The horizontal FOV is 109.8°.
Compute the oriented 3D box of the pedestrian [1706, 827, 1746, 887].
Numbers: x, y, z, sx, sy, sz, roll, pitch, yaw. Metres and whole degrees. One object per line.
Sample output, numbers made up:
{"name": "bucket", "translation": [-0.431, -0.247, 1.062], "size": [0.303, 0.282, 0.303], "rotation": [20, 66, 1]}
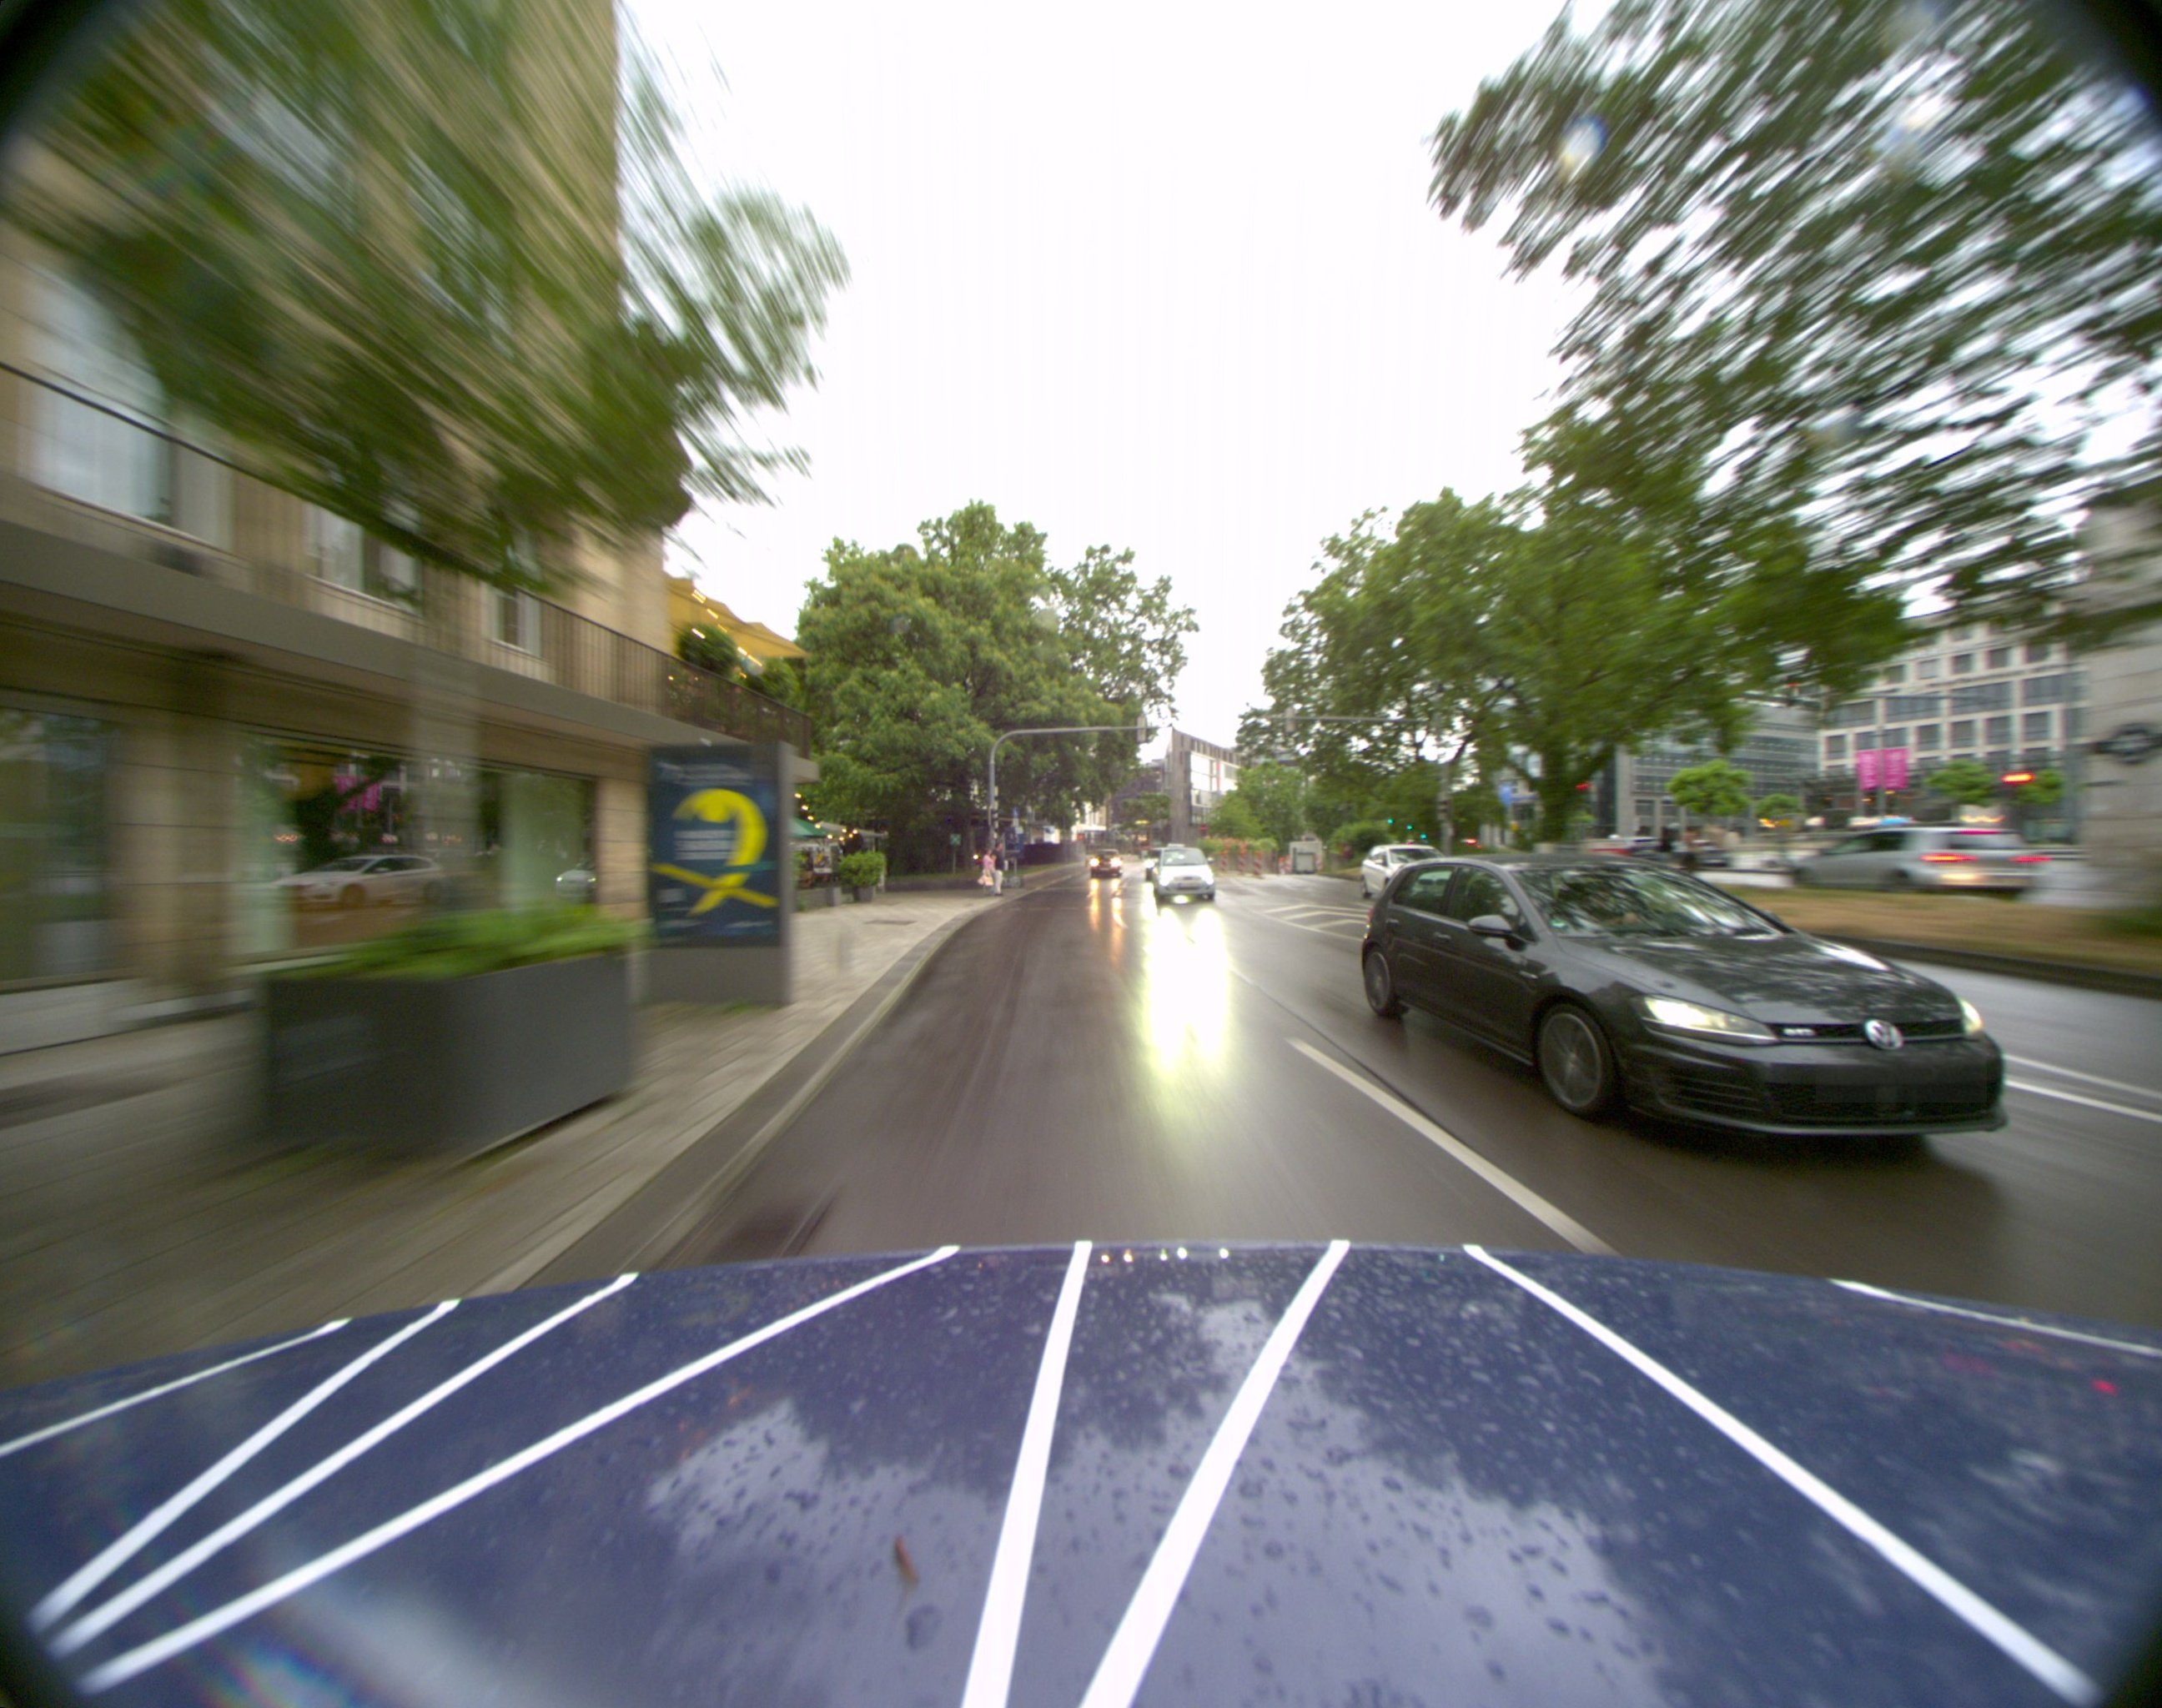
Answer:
{"name": "pedestrian", "translation": [17.921, 0.079, 21.119], "size": [0.611, 1.604, 0.640], "rotation": [-2, 1, -26]}

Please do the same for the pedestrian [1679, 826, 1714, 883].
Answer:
{"name": "pedestrian", "translation": [17.585, 0.008, 21.715], "size": [0.448, 1.604, 0.640], "rotation": [-2, 1, -26]}

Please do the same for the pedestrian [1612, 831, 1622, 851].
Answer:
{"name": "pedestrian", "translation": [45.577, -1.105, 64.611], "size": [0.577, 1.618, 0.564], "rotation": [0, 2, 44]}

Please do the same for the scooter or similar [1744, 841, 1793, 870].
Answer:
{"name": "scooter or similar", "translation": [29.584, 0.066, 32.692], "size": [1.427, 1.179, 0.582], "rotation": [-3, 1, 17]}

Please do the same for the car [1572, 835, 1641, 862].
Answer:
{"name": "car", "translation": [32.878, -0.367, 47.674], "size": [2.010, 1.525, 4.439], "rotation": [-1, 2, 12]}

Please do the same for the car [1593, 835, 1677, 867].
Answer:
{"name": "car", "translation": [31.004, -0.191, 42.738], "size": [1.997, 1.642, 4.730], "rotation": [-1, 2, 11]}

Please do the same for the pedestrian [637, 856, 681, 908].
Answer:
{"name": "pedestrian", "translation": [-8.815, 0.575, 15.881], "size": [0.555, 1.049, 0.545], "rotation": [-2, 1, 7]}

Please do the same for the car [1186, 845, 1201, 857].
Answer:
{"name": "car", "translation": [17.509, -0.479, 118.296], "size": [1.997, 1.734, 3.912], "rotation": [-1, 1, 11]}

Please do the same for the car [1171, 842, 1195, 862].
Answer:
{"name": "car", "translation": [9.272, -0.208, 69.541], "size": [1.998, 1.734, 3.911], "rotation": [-1, 1, 6]}

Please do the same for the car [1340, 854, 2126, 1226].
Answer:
{"name": "car", "translation": [3.437, 0.770, 5.221], "size": [1.789, 1.444, 4.122], "rotation": [-2, 1, -1]}

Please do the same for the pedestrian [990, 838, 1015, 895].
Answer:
{"name": "pedestrian", "translation": [-2.572, 0.398, 24.977], "size": [0.634, 1.824, 0.563], "rotation": [-1, 2, 8]}

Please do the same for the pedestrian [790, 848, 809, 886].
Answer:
{"name": "pedestrian", "translation": [-12.322, 0.569, 33.291], "size": [0.498, 1.671, 0.548], "rotation": [-1, 2, 43]}

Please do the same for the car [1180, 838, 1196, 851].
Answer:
{"name": "car", "translation": [15.343, -1.327, 108.831], "size": [1.997, 1.734, 3.912], "rotation": [-1, 1, 11]}

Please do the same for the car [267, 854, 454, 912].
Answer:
{"name": "car", "translation": [-21.604, 0.812, 23.048], "size": [1.670, 1.490, 4.000], "rotation": [-2, 1, 3]}

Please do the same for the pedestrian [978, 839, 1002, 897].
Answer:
{"name": "pedestrian", "translation": [-2.894, 0.425, 24.185], "size": [0.592, 1.824, 0.628], "rotation": [-2, 2, -22]}

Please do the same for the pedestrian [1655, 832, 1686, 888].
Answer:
{"name": "pedestrian", "translation": [17.291, 0.176, 22.306], "size": [0.425, 1.604, 0.554], "rotation": [-2, 1, -11]}

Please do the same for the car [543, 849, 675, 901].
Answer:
{"name": "car", "translation": [-15.433, 0.640, 25.141], "size": [1.670, 1.490, 4.000], "rotation": [-2, 1, 3]}

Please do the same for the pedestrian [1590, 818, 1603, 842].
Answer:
{"name": "pedestrian", "translation": [39.121, -1.842, 57.635], "size": [0.747, 1.779, 0.424], "rotation": [-2, 1, 36]}

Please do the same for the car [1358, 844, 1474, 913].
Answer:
{"name": "car", "translation": [8.891, 0.576, 20.514], "size": [1.780, 1.587, 4.001], "rotation": [-1, 2, 7]}

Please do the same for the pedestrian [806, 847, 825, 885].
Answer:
{"name": "pedestrian", "translation": [-11.832, 0.538, 33.861], "size": [0.498, 1.671, 0.548], "rotation": [-1, 2, 43]}

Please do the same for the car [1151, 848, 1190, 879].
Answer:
{"name": "car", "translation": [4.437, 0.447, 37.380], "size": [1.715, 1.433, 3.496], "rotation": [0, 1, 9]}

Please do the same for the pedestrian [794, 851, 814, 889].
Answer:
{"name": "pedestrian", "translation": [-12.428, 0.699, 34.113], "size": [0.603, 1.671, 0.548], "rotation": [-1, 2, 42]}

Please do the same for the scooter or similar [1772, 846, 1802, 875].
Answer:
{"name": "scooter or similar", "translation": [29.340, 0.247, 31.561], "size": [1.615, 1.119, 0.442], "rotation": [-3, 1, -30]}

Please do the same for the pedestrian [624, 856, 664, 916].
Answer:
{"name": "pedestrian", "translation": [-7.992, 0.577, 13.888], "size": [0.543, 1.049, 0.409], "rotation": [-1, 1, 36]}

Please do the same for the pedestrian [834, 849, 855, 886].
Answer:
{"name": "pedestrian", "translation": [-11.091, 0.632, 35.607], "size": [0.570, 1.671, 0.684], "rotation": [-1, 2, 44]}

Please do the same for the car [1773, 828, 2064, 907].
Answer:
{"name": "car", "translation": [16.478, 0.185, 15.337], "size": [1.750, 1.357, 4.133], "rotation": [-1, 2, 10]}

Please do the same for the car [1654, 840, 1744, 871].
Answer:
{"name": "car", "translation": [30.351, 0.058, 37.470], "size": [1.844, 1.373, 4.045], "rotation": [-1, 2, 14]}

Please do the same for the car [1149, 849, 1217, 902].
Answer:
{"name": "car", "translation": [3.072, 0.593, 23.529], "size": [1.612, 1.433, 3.493], "rotation": [-2, 1, 1]}

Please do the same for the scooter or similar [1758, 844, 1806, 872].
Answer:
{"name": "scooter or similar", "translation": [30.657, 0.179, 33.243], "size": [1.426, 1.179, 0.582], "rotation": [-3, 1, 27]}

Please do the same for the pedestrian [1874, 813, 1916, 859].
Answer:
{"name": "pedestrian", "translation": [34.817, -0.754, 32.524], "size": [0.589, 1.913, 1.125], "rotation": [-3, 1, 4]}

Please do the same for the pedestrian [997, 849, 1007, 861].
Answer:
{"name": "pedestrian", "translation": [-5.594, 0.071, 54.057], "size": [0.574, 0.867, 0.508], "rotation": [-2, 2, -25]}

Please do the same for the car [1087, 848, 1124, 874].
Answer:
{"name": "car", "translation": [1.388, 0.362, 41.968], "size": [1.715, 1.274, 3.495], "rotation": [-1, 1, 7]}
